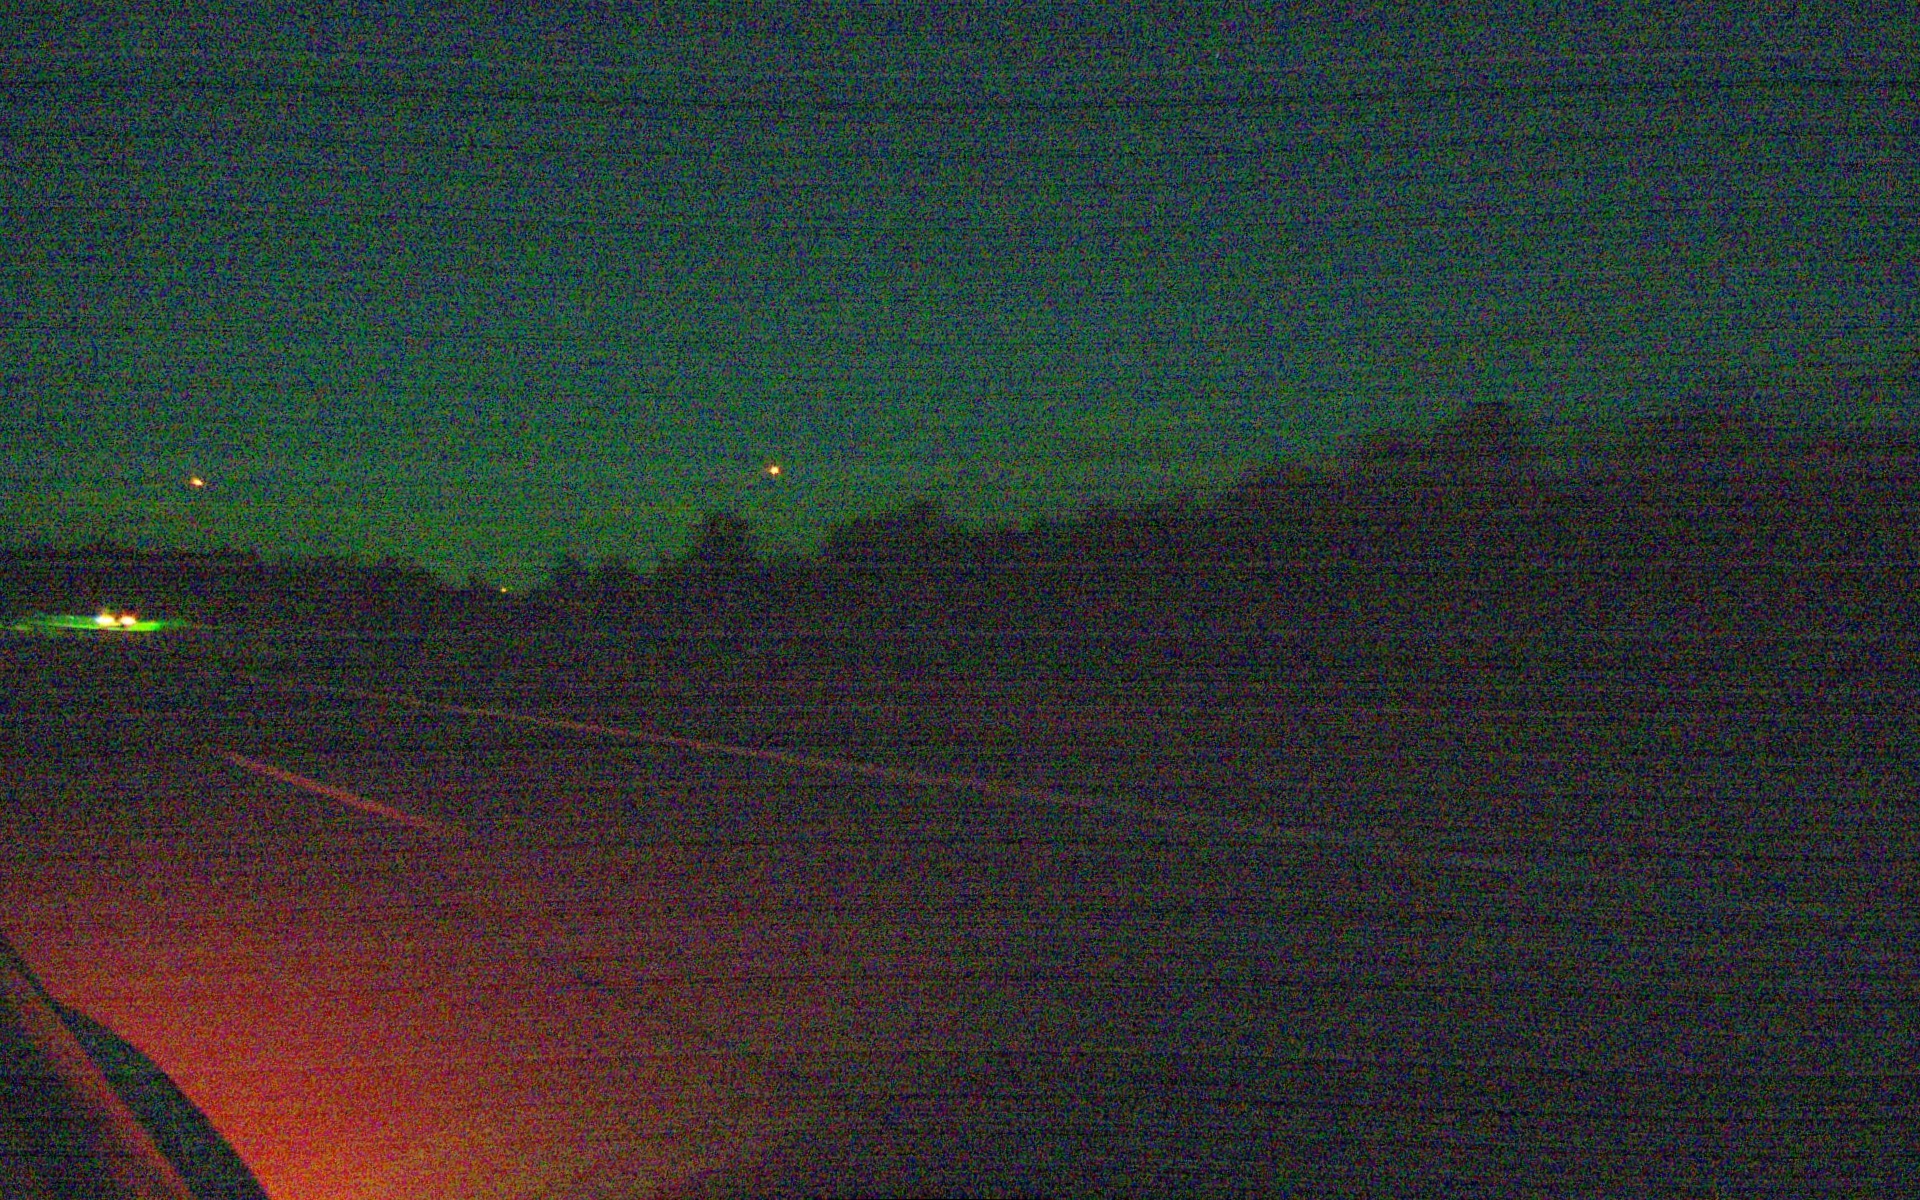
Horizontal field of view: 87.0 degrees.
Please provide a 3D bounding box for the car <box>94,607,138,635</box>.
[{"bbox_3d":[-93.257,2.277,111.820,6.599,2.960,2.816,0,0,42],"label":"car"}]
